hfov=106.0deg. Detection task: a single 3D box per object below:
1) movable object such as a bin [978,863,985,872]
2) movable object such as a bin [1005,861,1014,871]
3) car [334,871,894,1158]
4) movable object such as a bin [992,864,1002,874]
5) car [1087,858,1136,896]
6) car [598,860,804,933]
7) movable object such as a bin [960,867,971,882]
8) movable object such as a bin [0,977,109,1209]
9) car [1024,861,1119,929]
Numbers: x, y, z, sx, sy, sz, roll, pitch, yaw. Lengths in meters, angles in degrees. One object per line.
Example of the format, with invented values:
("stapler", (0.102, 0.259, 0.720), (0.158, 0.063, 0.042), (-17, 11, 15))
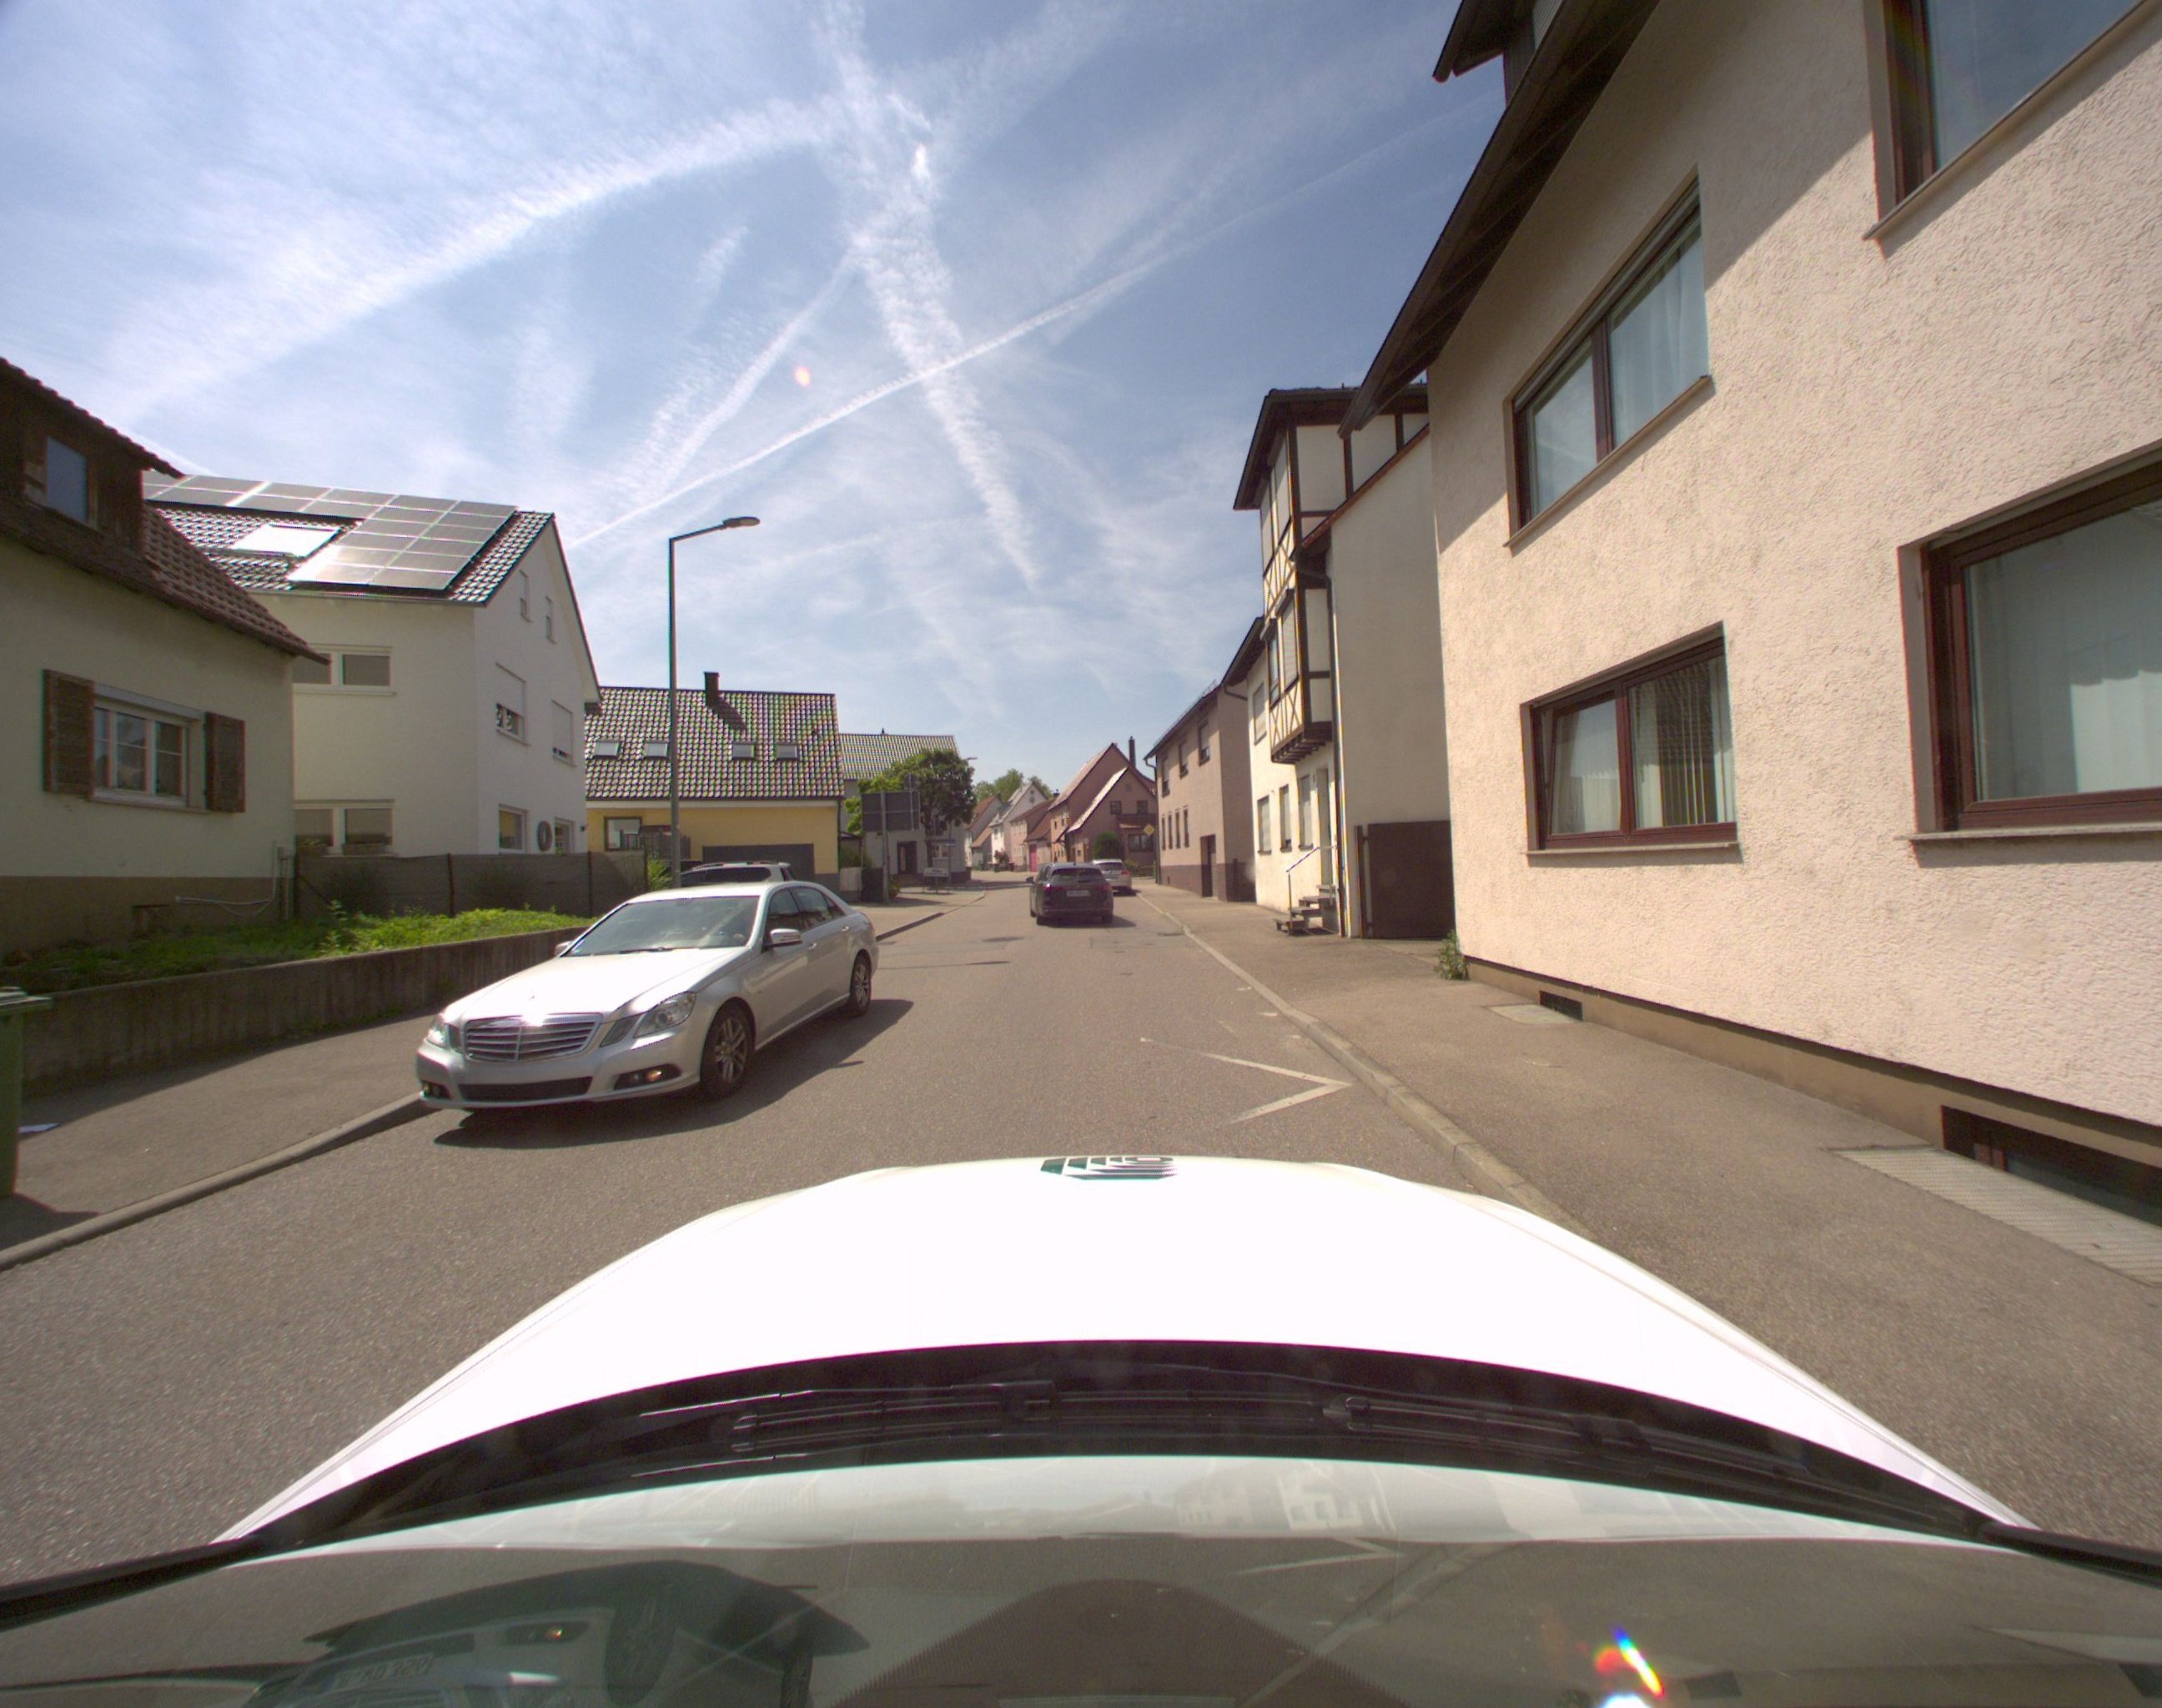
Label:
("movable object such as a bin", (-12.568, 1.664, 102.716), (0.681, 1.155, 0.814), (-1, -1, -23))
("movable object such as a bin", (-8.214, 1.396, 93.241), (0.681, 1.050, 0.829), (-6, 1, -23))
("car", (-3.262, 0.992, 6.993), (1.947, 1.486, 4.463), (-4, 0, 3))
("movable object such as a bin", (-9.686, 1.721, 93.813), (0.880, 1.074, 0.866), (-6, 1, -23))
("car", (1.219, 0.916, 34.142), (1.781, 1.442, 4.334), (-1, 0, -1))
("car", (-9.609, 1.047, 20.986), (4.405, 1.622, 1.991), (-2, -1, -12))
("movable object such as a bin", (-8.597, 1.525, 60.797), (0.754, 1.060, 0.677), (-1, 0, -12))
("movable object such as a bin", (-5.659, 1.209, 4.060), (0.789, 1.057, 0.650), (-2, 0, -3))
("car", (-0.372, 0.917, 20.203), (1.840, 1.420, 4.670), (-1, 0, -7))
